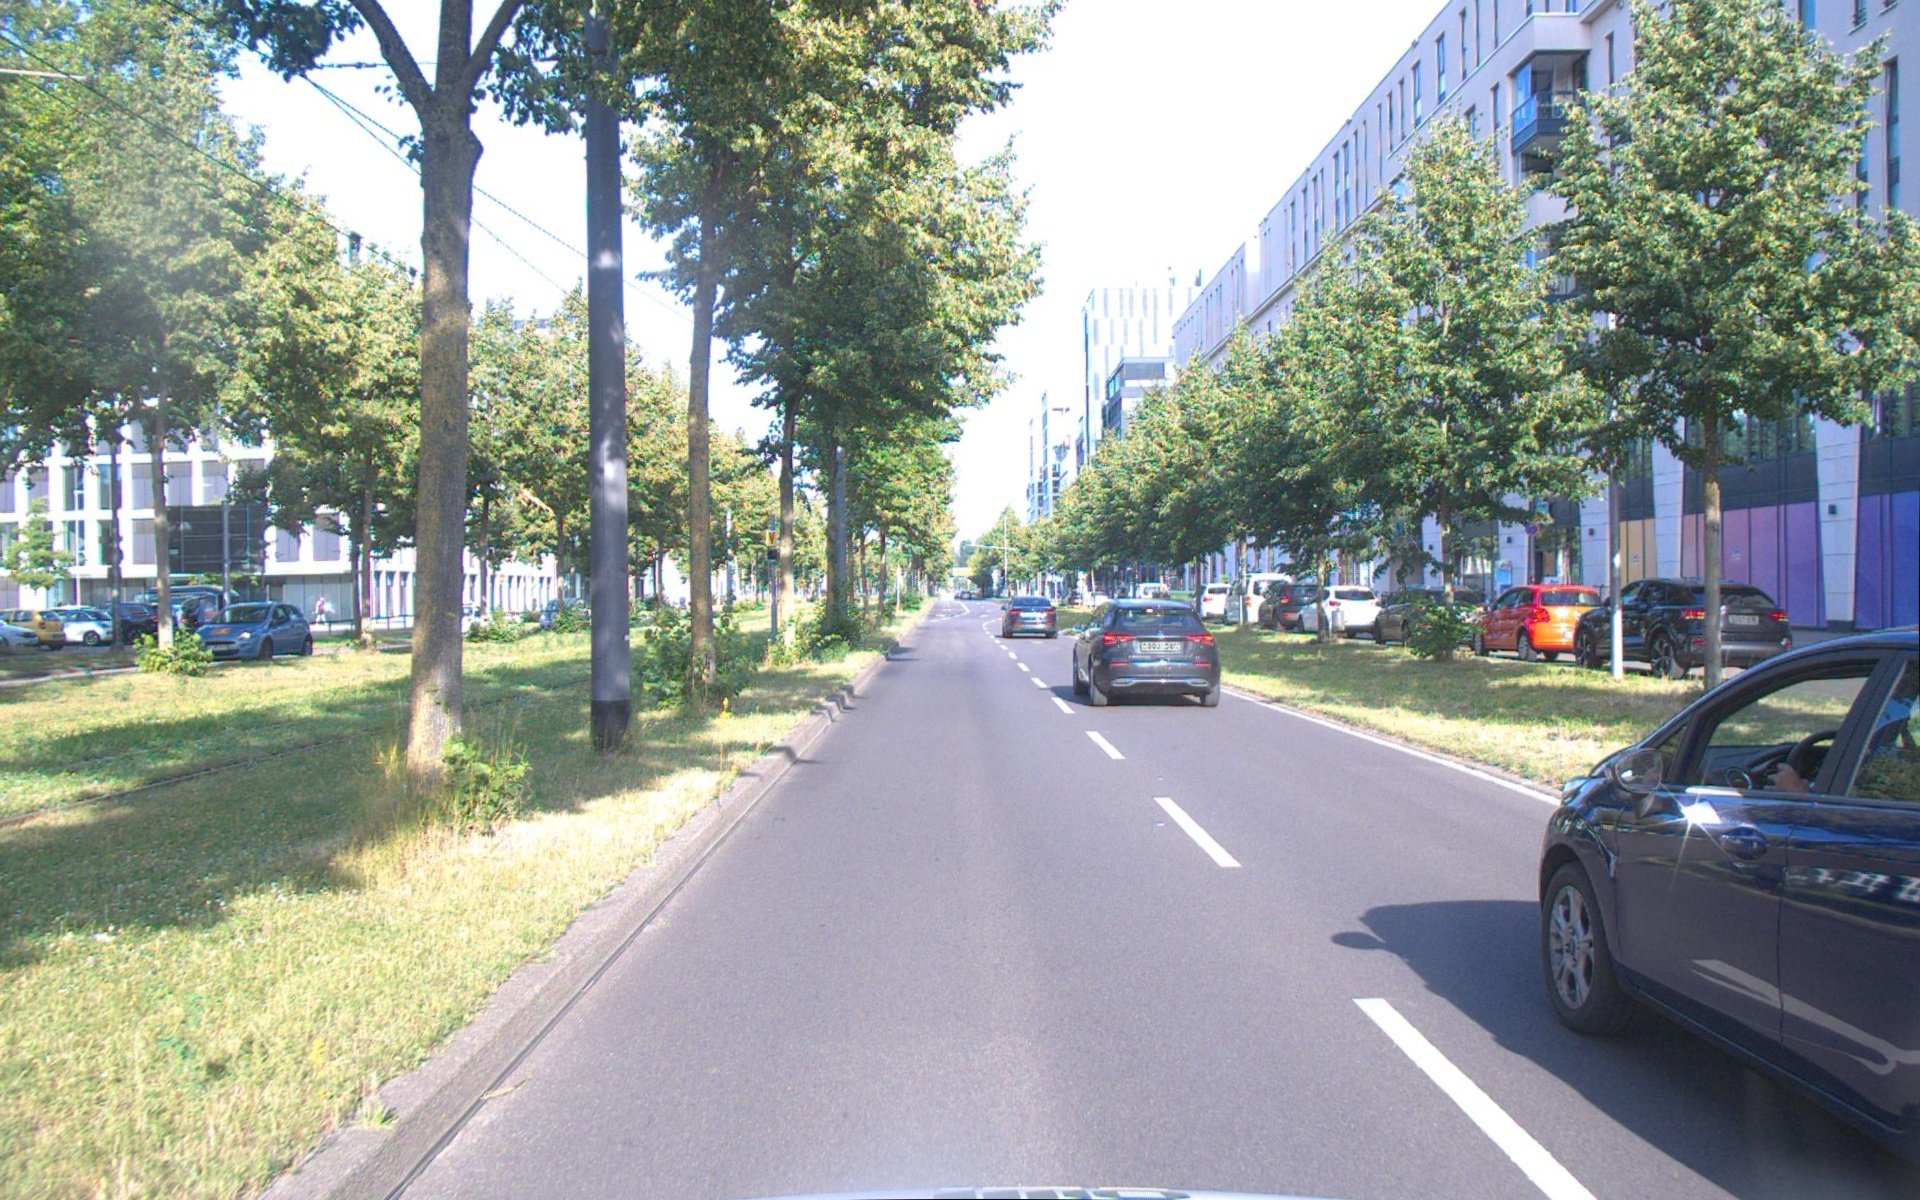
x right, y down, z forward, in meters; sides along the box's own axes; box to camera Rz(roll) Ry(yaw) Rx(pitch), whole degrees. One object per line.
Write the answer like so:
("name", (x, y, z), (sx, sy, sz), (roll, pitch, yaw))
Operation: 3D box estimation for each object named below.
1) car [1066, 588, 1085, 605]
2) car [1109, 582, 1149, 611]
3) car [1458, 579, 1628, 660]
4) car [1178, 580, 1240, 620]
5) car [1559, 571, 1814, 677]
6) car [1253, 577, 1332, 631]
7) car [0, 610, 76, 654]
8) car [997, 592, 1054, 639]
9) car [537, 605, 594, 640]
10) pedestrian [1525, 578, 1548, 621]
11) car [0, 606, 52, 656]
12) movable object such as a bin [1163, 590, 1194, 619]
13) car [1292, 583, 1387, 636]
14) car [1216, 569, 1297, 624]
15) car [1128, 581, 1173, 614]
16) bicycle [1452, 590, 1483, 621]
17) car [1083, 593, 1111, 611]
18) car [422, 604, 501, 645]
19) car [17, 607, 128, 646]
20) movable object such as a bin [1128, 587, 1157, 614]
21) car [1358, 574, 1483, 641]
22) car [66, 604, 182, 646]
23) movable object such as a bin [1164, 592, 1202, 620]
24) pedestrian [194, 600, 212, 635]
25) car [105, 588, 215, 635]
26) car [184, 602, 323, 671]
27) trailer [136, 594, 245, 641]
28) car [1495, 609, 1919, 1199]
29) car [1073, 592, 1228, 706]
("car", (10.225, -0.284, 146.364), (1.573, 1.394, 4.159), (1, 0, 4))
("car", (10.655, -0.267, 104.574), (1.859, 1.738, 4.676), (1, 1, -2))
("car", (11.276, 0.364, 32.283), (1.694, 1.457, 4.111), (1, 0, -3))
("car", (10.667, -0.006, 71.206), (1.696, 1.658, 4.847), (-1, 0, -3))
("car", (11.417, 0.355, 26.357), (1.831, 1.517, 4.410), (1, 0, -5))
("car", (10.834, 0.135, 54.162), (1.693, 1.679, 4.339), (1, 0, 0))
("car", (-35.613, 1.172, 62.031), (3.904, 1.587, 1.856), (1, 0, 2))
("car", (2.238, 0.526, 57.312), (1.822, 1.551, 3.785), (1, 0, 0))
("car", (-16.709, 0.935, 70.197), (1.551, 1.417, 3.696), (1, 0, 0))
("pedestrian", (20.957, -0.034, 60.155), (0.589, 1.548, 0.510), (1, -1, -30))
("car", (-35.715, 1.071, 59.574), (4.955, 1.765, 1.886), (1, 0, 1))
("movable object such as a bin", (10.321, 0.228, 78.248), (1.252, 1.325, 1.190), (1, 0, -4))
("car", (10.935, 0.260, 47.941), (1.584, 1.437, 4.165), (1, 0, -3))
("car", (10.810, -0.100, 60.659), (1.801, 1.909, 5.028), (1, 0, -3))
("car", (10.581, -0.120, 92.319), (1.791, 1.741, 4.293), (1, 0, -3))
("bicycle", (17.885, 0.197, 58.347), (0.410, 1.018, 2.043), (-4, 0, 0))
("car", (10.361, 0.150, 125.307), (1.673, 1.264, 3.904), (1, 0, -1))
("car", (-19.899, 0.969, 66.231), (1.648, 1.501, 4.812), (-3, 0, 0))
("car", (-35.596, 1.052, 66.390), (3.494, 1.450, 1.726), (1, 0, 0))
("movable object such as a bin", (9.175, 0.016, 83.001), (1.252, 1.314, 1.177), (1, 0, -4))
("car", (10.862, 0.181, 39.311), (1.693, 1.457, 4.722), (1, 0, 1))
("car", (-34.904, 1.041, 69.114), (3.910, 1.672, 1.757), (1, 0, 0))
("movable object such as a bin", (10.357, 0.265, 76.720), (1.371, 1.258, 1.334), (1, 0, 26))
("pedestrian", (-33.164, 0.763, 72.458), (0.511, 1.506, 0.568), (1, -1, -2))
("car", (-35.034, 0.503, 72.494), (3.910, 1.981, 1.757), (1, 0, 0))
("car", (-17.015, 0.849, 40.049), (1.577, 1.559, 4.132), (1, 0, 0))
("trailer", (-36.162, 0.822, 77.776), (4.273, 2.090, 1.758), (1, 0, 3))
("car", (2.910, 0.767, 4.582), (1.528, 1.449, 3.906), (1, 0, -1))
("car", (2.626, 0.647, 23.581), (1.738, 1.449, 3.960), (1, 0, 0))
